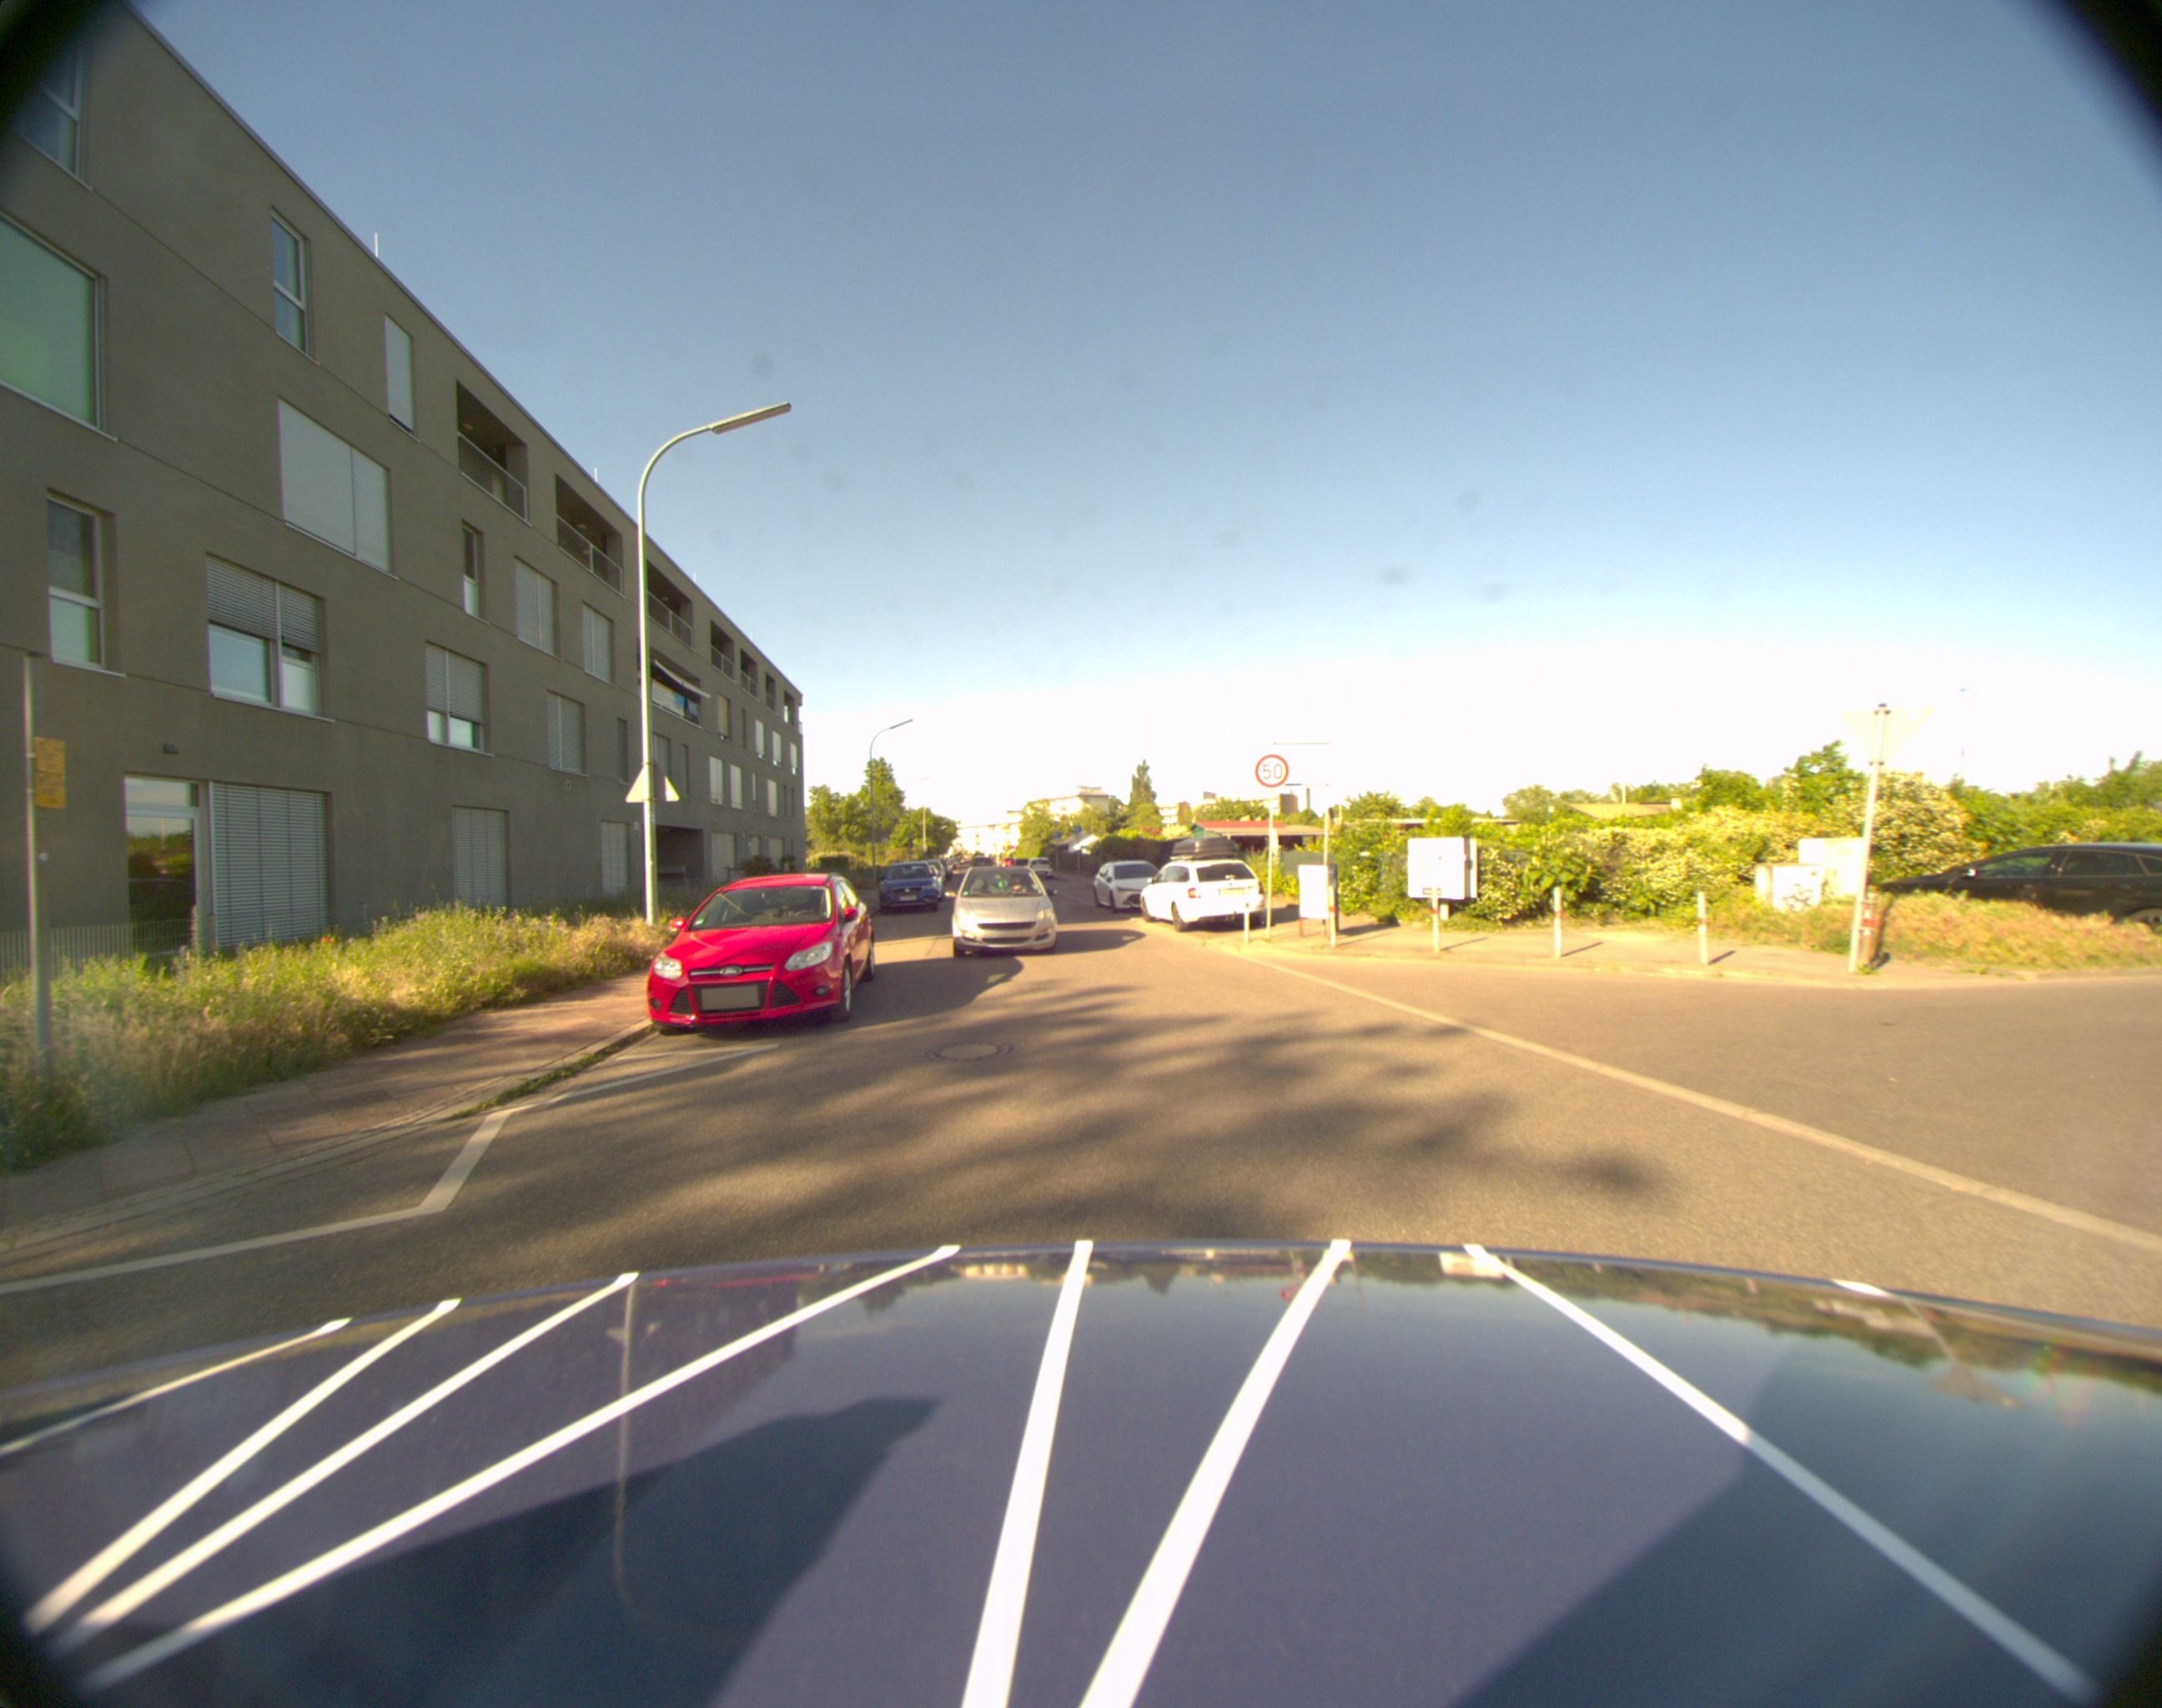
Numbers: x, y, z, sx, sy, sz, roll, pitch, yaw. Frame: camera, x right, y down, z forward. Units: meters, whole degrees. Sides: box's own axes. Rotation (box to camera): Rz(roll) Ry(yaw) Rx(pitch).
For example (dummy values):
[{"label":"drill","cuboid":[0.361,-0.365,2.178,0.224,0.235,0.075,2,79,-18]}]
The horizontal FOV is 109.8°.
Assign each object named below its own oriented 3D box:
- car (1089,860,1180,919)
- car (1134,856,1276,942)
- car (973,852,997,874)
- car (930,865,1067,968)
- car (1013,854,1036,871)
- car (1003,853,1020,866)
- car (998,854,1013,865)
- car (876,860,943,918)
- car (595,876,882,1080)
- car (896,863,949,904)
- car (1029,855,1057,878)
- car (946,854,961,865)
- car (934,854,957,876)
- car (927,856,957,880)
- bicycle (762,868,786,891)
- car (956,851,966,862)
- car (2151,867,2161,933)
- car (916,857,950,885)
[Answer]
[{"label":"car","cuboid":[1.493,0.989,23.120,1.752,1.437,4.537,-4,1,-8]},{"label":"car","cuboid":[2.540,0.871,16.769,1.701,1.504,4.513,-4,0,-9]},{"label":"car","cuboid":[-8.279,0.751,65.621,1.949,1.717,4.835,-1,0,-7]},{"label":"car","cuboid":[-1.625,0.972,13.599,1.681,1.440,3.994,-2,1,-17]},{"label":"car","cuboid":[-5.214,0.771,69.619,1.701,1.415,4.513,-3,1,-9]},{"label":"car","cuboid":[-8.056,0.658,87.712,1.701,1.421,4.382,-1,0,-9]},{"label":"car","cuboid":[-9.659,0.670,97.318,1.701,1.361,3.907,-1,0,-9]},{"label":"car","cuboid":[-5.578,1.078,25.230,1.823,1.590,4.623,-4,1,-10]},{"label":"car","cuboid":[-3.447,1.093,8.629,1.825,1.491,4.448,-2,0,-9]},{"label":"car","cuboid":[-6.458,1.146,31.296,1.750,1.421,4.582,-3,1,-8]},{"label":"car","cuboid":[-2.665,0.829,52.259,1.532,1.479,3.399,-2,0,-9]},{"label":"car","cuboid":[-17.626,0.758,105.067,1.874,1.517,4.152,-2,1,-8]},{"label":"car","cuboid":[-11.599,0.902,65.172,1.712,1.696,4.345,-4,1,-10]},{"label":"car","cuboid":[-9.993,0.993,54.930,1.750,1.558,4.799,-3,1,-7]},{"label":"bicycle","cuboid":[-15.224,1.247,37.722,0.553,1.055,1.841,-2,1,-5]},{"label":"car","cuboid":[-23.829,0.494,150.709,2.000,2.002,3.997,-1,0,-9]},{"label":"car","cuboid":[19.583,0.787,11.419,1.510,1.145,3.845,-1,0,-3]},{"label":"car","cuboid":[-8.881,0.993,45.966,1.712,1.517,4.152,-3,1,-8]}]
